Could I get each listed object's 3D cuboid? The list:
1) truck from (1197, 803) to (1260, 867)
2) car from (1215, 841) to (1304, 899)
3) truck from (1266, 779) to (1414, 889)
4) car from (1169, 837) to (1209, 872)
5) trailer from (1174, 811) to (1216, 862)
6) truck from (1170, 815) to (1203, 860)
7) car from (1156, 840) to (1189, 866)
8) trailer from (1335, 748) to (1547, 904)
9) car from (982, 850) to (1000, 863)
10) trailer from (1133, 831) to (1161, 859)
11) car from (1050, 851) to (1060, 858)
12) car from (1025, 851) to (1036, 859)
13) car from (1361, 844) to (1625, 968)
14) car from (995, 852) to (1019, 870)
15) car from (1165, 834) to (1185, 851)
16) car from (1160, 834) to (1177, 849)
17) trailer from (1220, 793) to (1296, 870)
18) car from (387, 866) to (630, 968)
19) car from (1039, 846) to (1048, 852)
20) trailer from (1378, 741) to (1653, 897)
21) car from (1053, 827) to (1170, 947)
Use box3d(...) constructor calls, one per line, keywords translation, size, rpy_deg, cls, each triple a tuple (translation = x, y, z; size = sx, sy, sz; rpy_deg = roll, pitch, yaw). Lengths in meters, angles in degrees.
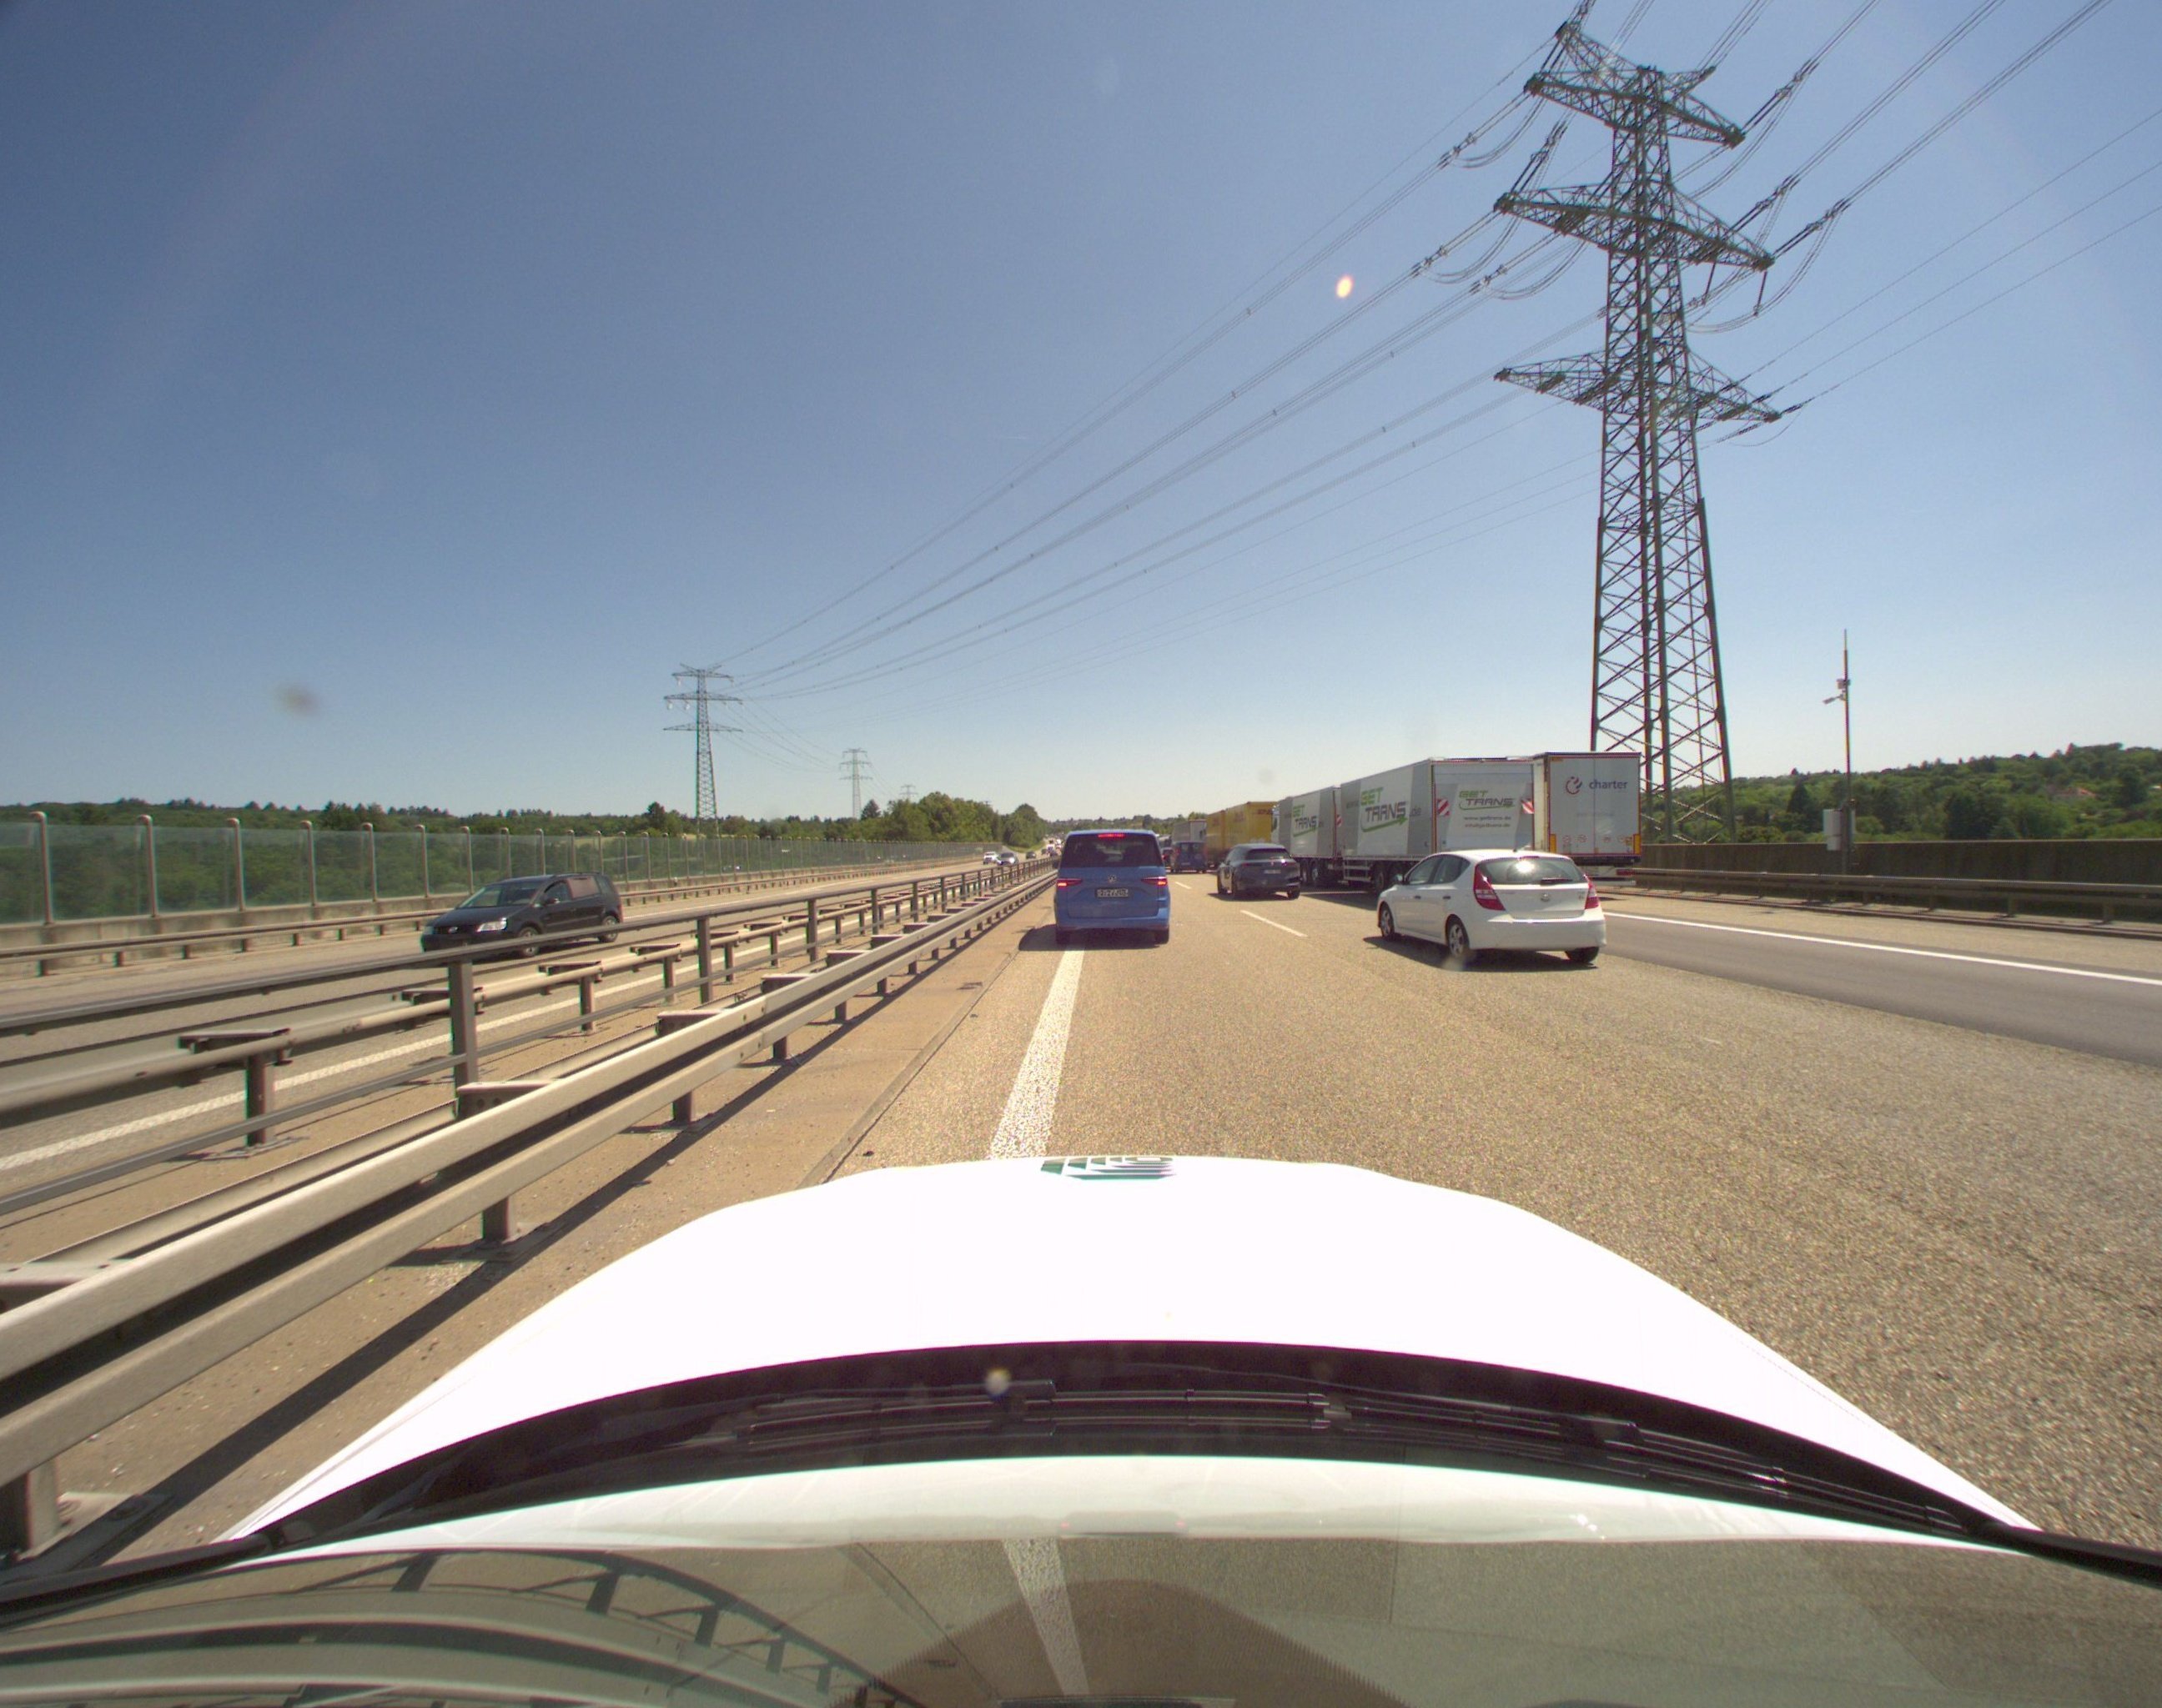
box3d(translation=(10.640, -1.264, 59.845), size=(2.826, 4.242, 11.013), rpy_deg=(0, 0, 1), cls="truck")
box3d(translation=(5.574, 0.454, 25.899), size=(1.955, 1.644, 4.294), rpy_deg=(-1, 0, 1), cls="car")
box3d(translation=(10.059, -0.726, 33.164), size=(2.647, 3.647, 11.013), rpy_deg=(-1, 0, 1), cls="truck")
box3d(translation=(6.499, 0.019, 49.421), size=(1.955, 1.993, 4.294), rpy_deg=(-1, 0, 1), cls="car")
box3d(translation=(10.843, -1.617, 78.480), size=(2.627, 4.516, 11.305), rpy_deg=(0, 0, 1), cls="trailer")
box3d(translation=(11.031, -1.696, 85.644), size=(2.657, 4.484, 6.852), rpy_deg=(0, 0, 2), cls="truck")
box3d(translation=(6.616, -0.095, 59.224), size=(1.986, 1.816, 4.001), rpy_deg=(-1, 0, 1), cls="car")
box3d(translation=(9.924, -0.705, 23.636), size=(2.688, 3.700, 8.016), rpy_deg=(-1, 0, 1), cls="trailer")
box3d(translation=(-13.618, 0.311, 123.731), size=(1.986, 1.885, 5.257), rpy_deg=(-1, 0, 1), cls="car")
box3d(translation=(7.191, -0.947, 90.494), size=(2.560, 2.990, 10.667), rpy_deg=(0, 0, 2), cls="trailer")
box3d(translation=(-5.149, 0.078, 161.660), size=(1.592, 1.317, 4.342), rpy_deg=(-3, 0, 1), cls="car")
box3d(translation=(-9.302, 0.255, 150.609), size=(1.592, 1.350, 4.180), rpy_deg=(-4, 0, 1), cls="car")
box3d(translation=(5.714, 0.613, 11.978), size=(1.782, 1.455, 4.294), rpy_deg=(-1, 0, 1), cls="car")
box3d(translation=(-7.185, 0.637, 79.187), size=(1.799, 1.627, 4.479), rpy_deg=(-3, 0, 1), cls="car")
box3d(translation=(11.107, -1.349, 96.479), size=(1.986, 2.013, 4.001), rpy_deg=(0, 0, 1), cls="car")
box3d(translation=(12.244, -1.783, 113.935), size=(1.986, 2.013, 4.463), rpy_deg=(-2, 0, 1), cls="car")
box3d(translation=(10.598, -1.266, 49.766), size=(2.854, 4.239, 9.014), rpy_deg=(0, 0, 1), cls="trailer")
box3d(translation=(-11.669, 1.186, 17.033), size=(1.987, 1.672, 4.186), rpy_deg=(-4, 0, 0), cls="car")
box3d(translation=(-9.416, -1.270, 205.415), size=(1.723, 1.491, 4.420), rpy_deg=(-3, 0, 1), cls="car")
box3d(translation=(14.024, -0.965, 28.416), size=(2.705, 4.141, 13.429), rpy_deg=(-1, 0, 1), cls="trailer")
box3d(translation=(0.527, 0.511, 14.748), size=(1.813, 1.857, 4.076), rpy_deg=(0, 0, 1), cls="car")
